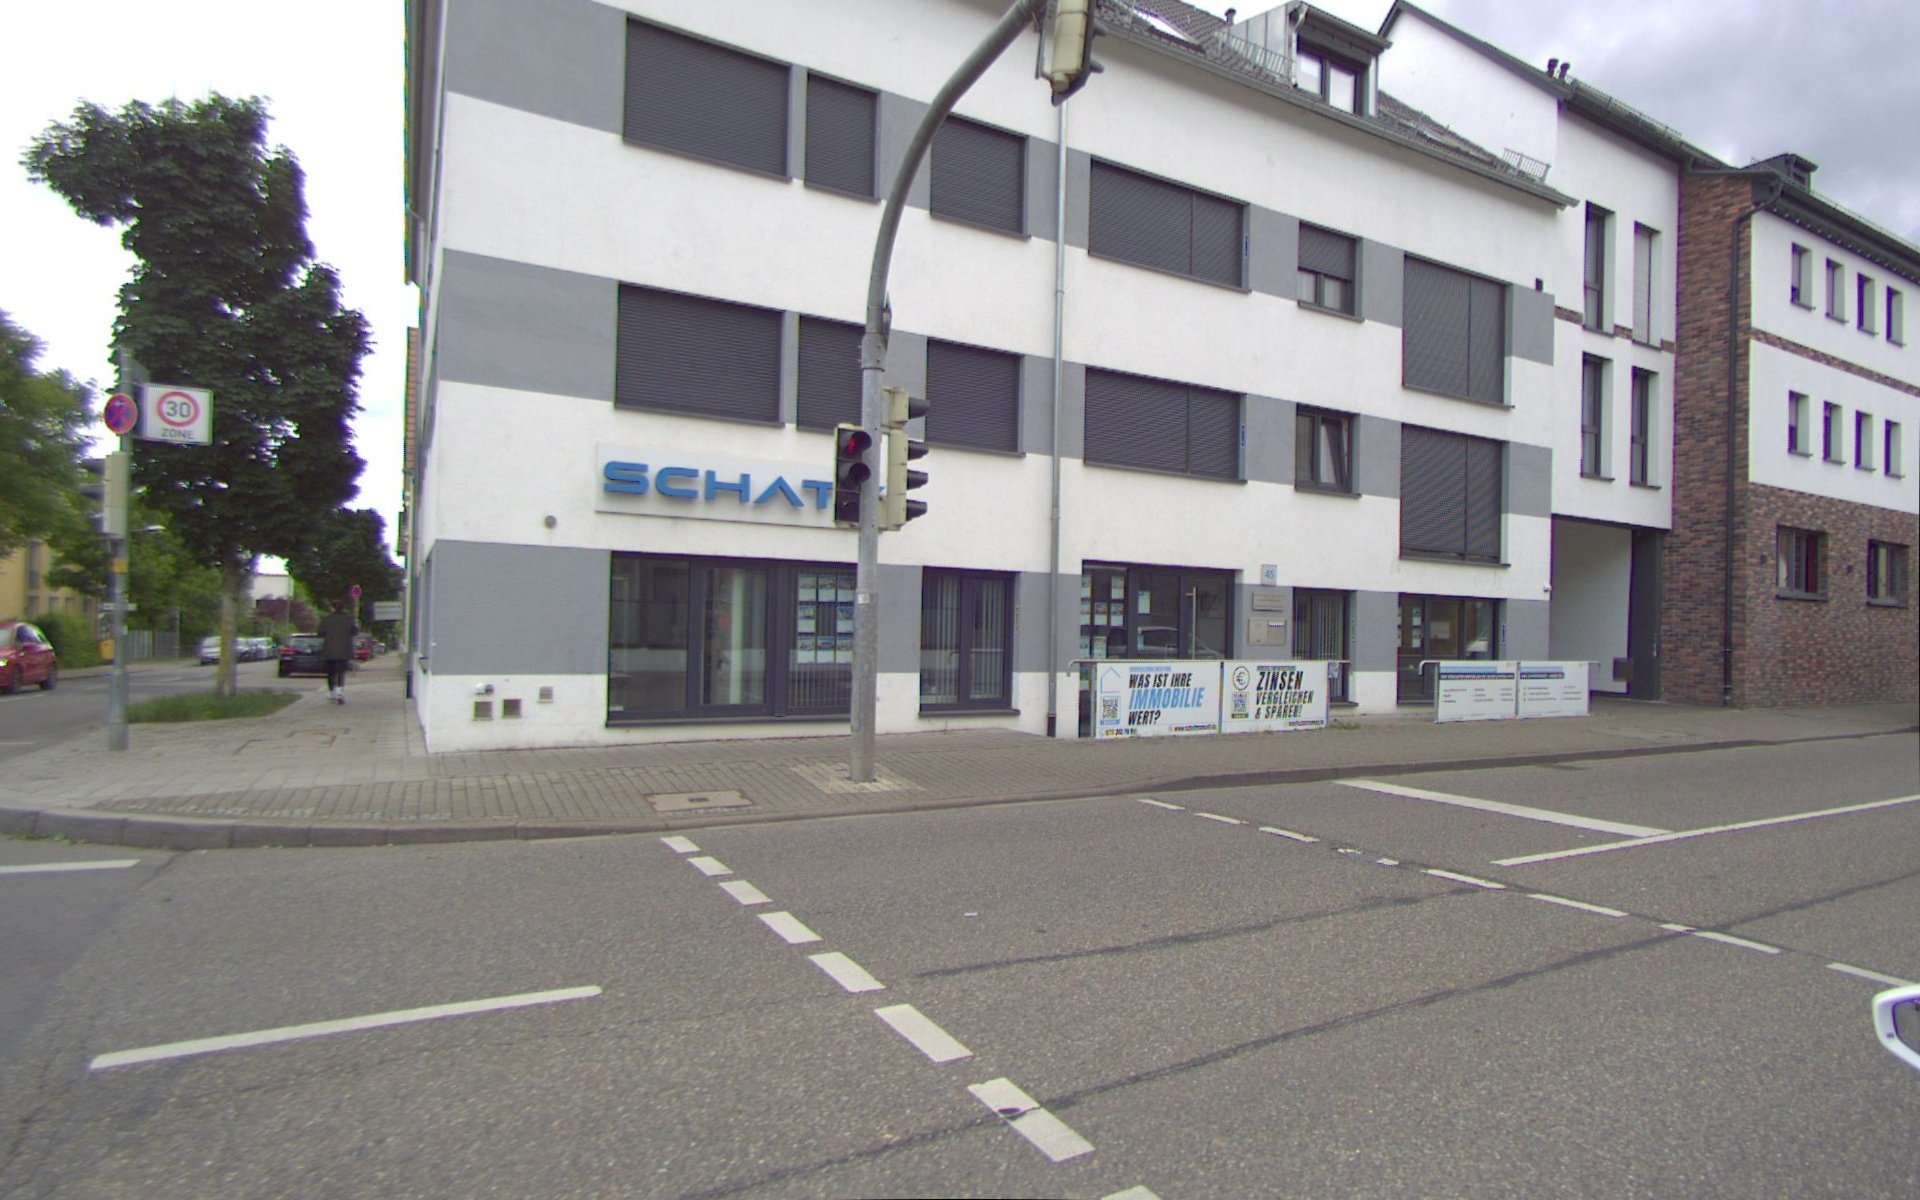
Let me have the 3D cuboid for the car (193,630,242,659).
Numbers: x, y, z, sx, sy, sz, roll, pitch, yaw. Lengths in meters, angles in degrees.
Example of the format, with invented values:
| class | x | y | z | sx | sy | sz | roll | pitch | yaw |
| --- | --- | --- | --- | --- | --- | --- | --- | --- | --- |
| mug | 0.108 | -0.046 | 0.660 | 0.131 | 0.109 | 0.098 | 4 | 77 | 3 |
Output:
| class | x | y | z | sx | sy | sz | roll | pitch | yaw |
| --- | --- | --- | --- | --- | --- | --- | --- | --- | --- |
| car | -40.673 | 2.427 | 55.110 | 1.665 | 1.547 | 3.968 | 2 | -3 | -30 |

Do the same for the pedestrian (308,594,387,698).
| class | x | y | z | sx | sy | sz | roll | pitch | yaw |
| --- | --- | --- | --- | --- | --- | --- | --- | --- | --- |
| pedestrian | -10.330 | 0.751 | 16.967 | 0.868 | 1.692 | 0.812 | -1 | 1 | -10 |

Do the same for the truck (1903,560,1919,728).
| class | x | y | z | sx | sy | sz | roll | pitch | yaw |
| --- | --- | --- | --- | --- | --- | --- | --- | --- | --- |
| truck | 21.096 | 0.881 | 19.041 | 8.266 | 2.992 | 2.424 | 2 | -3 | -30 |

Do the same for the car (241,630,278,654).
| class | x | y | z | sx | sy | sz | roll | pitch | yaw |
| --- | --- | --- | --- | --- | --- | --- | --- | --- | --- |
| car | -47.121 | 2.814 | 67.630 | 1.665 | 1.547 | 3.968 | 2 | -3 | -30 |

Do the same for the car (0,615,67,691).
| class | x | y | z | sx | sy | sz | roll | pitch | yaw |
| --- | --- | --- | --- | --- | --- | --- | --- | --- | --- |
| car | -21.179 | 1.129 | 21.958 | 1.665 | 1.547 | 3.968 | 2 | -3 | -30 |

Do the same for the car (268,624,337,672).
| class | x | y | z | sx | sy | sz | roll | pitch | yaw |
| --- | --- | --- | --- | --- | --- | --- | --- | --- | --- |
| car | -22.855 | 1.670 | 34.886 | 1.893 | 1.552 | 3.962 | 2 | -3 | -34 |
